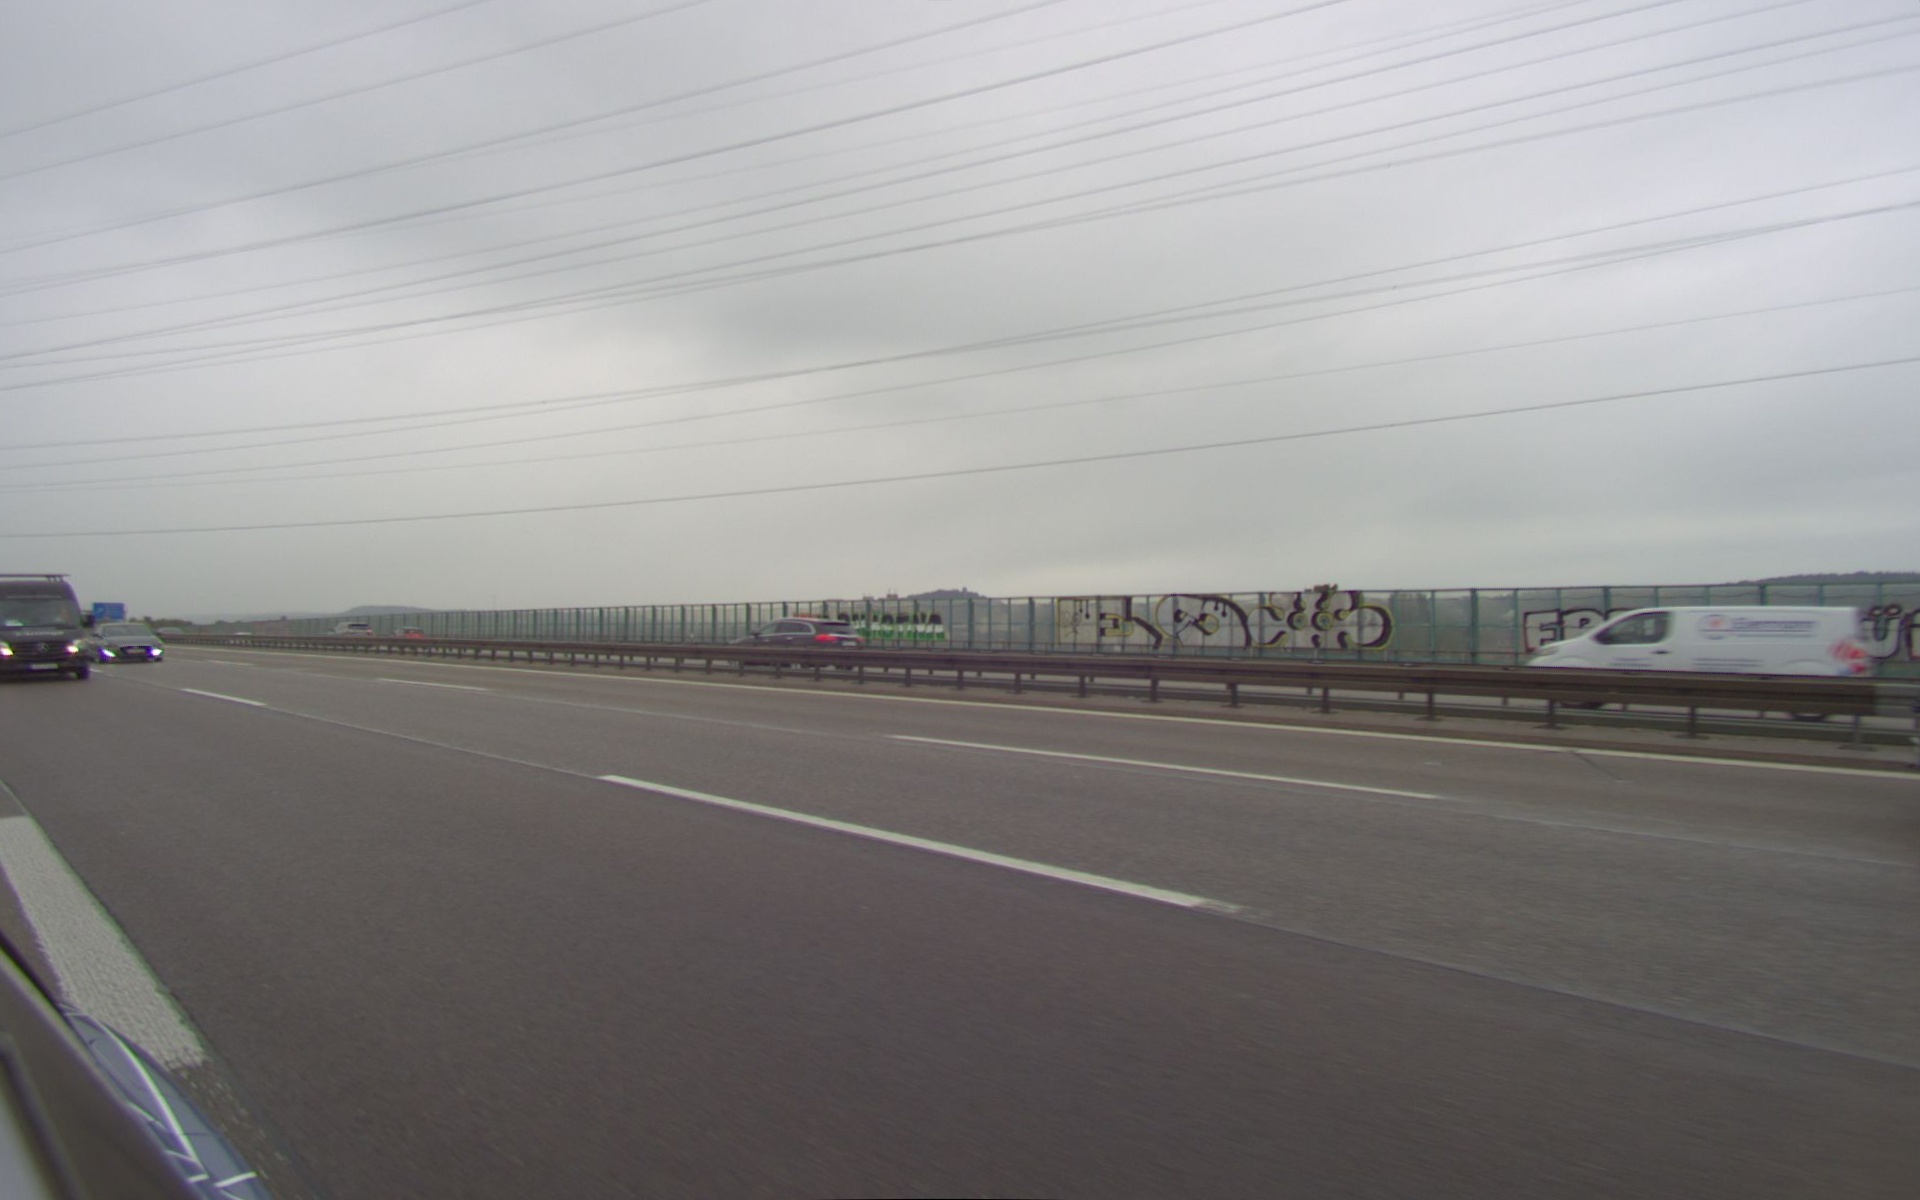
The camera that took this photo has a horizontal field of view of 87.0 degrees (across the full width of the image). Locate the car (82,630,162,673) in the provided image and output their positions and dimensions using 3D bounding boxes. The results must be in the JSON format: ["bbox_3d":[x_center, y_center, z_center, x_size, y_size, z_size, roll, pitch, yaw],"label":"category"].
[{"bbox_3d":[-30.430,1.871,36.696,4.830,1.413,1.706,-3,-2,44],"label":"car"}]

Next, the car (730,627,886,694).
[{"bbox_3d":[-4.184,1.574,27.506,4.213,1.569,1.972,-1,0,42],"label":"car"}]

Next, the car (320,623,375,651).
[{"bbox_3d":[-40.466,2.433,66.838,4.466,1.757,1.822,-1,-5,42],"label":"car"}]

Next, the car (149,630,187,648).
[{"bbox_3d":[-69.741,3.402,89.089,4.466,1.441,1.822,-1,-5,42],"label":"car"}]

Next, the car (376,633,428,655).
[{"bbox_3d":[-39.424,3.092,71.465,4.466,1.441,1.822,-1,-5,42],"label":"car"}]

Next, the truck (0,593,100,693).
[{"bbox_3d":[-24.460,1.044,26.537,6.107,2.355,1.973,0,-1,41],"label":"truck"}]

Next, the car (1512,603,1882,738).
[{"bbox_3d":[12.690,1.098,17.717,5.009,2.029,1.973,-1,0,41],"label":"car"}]
